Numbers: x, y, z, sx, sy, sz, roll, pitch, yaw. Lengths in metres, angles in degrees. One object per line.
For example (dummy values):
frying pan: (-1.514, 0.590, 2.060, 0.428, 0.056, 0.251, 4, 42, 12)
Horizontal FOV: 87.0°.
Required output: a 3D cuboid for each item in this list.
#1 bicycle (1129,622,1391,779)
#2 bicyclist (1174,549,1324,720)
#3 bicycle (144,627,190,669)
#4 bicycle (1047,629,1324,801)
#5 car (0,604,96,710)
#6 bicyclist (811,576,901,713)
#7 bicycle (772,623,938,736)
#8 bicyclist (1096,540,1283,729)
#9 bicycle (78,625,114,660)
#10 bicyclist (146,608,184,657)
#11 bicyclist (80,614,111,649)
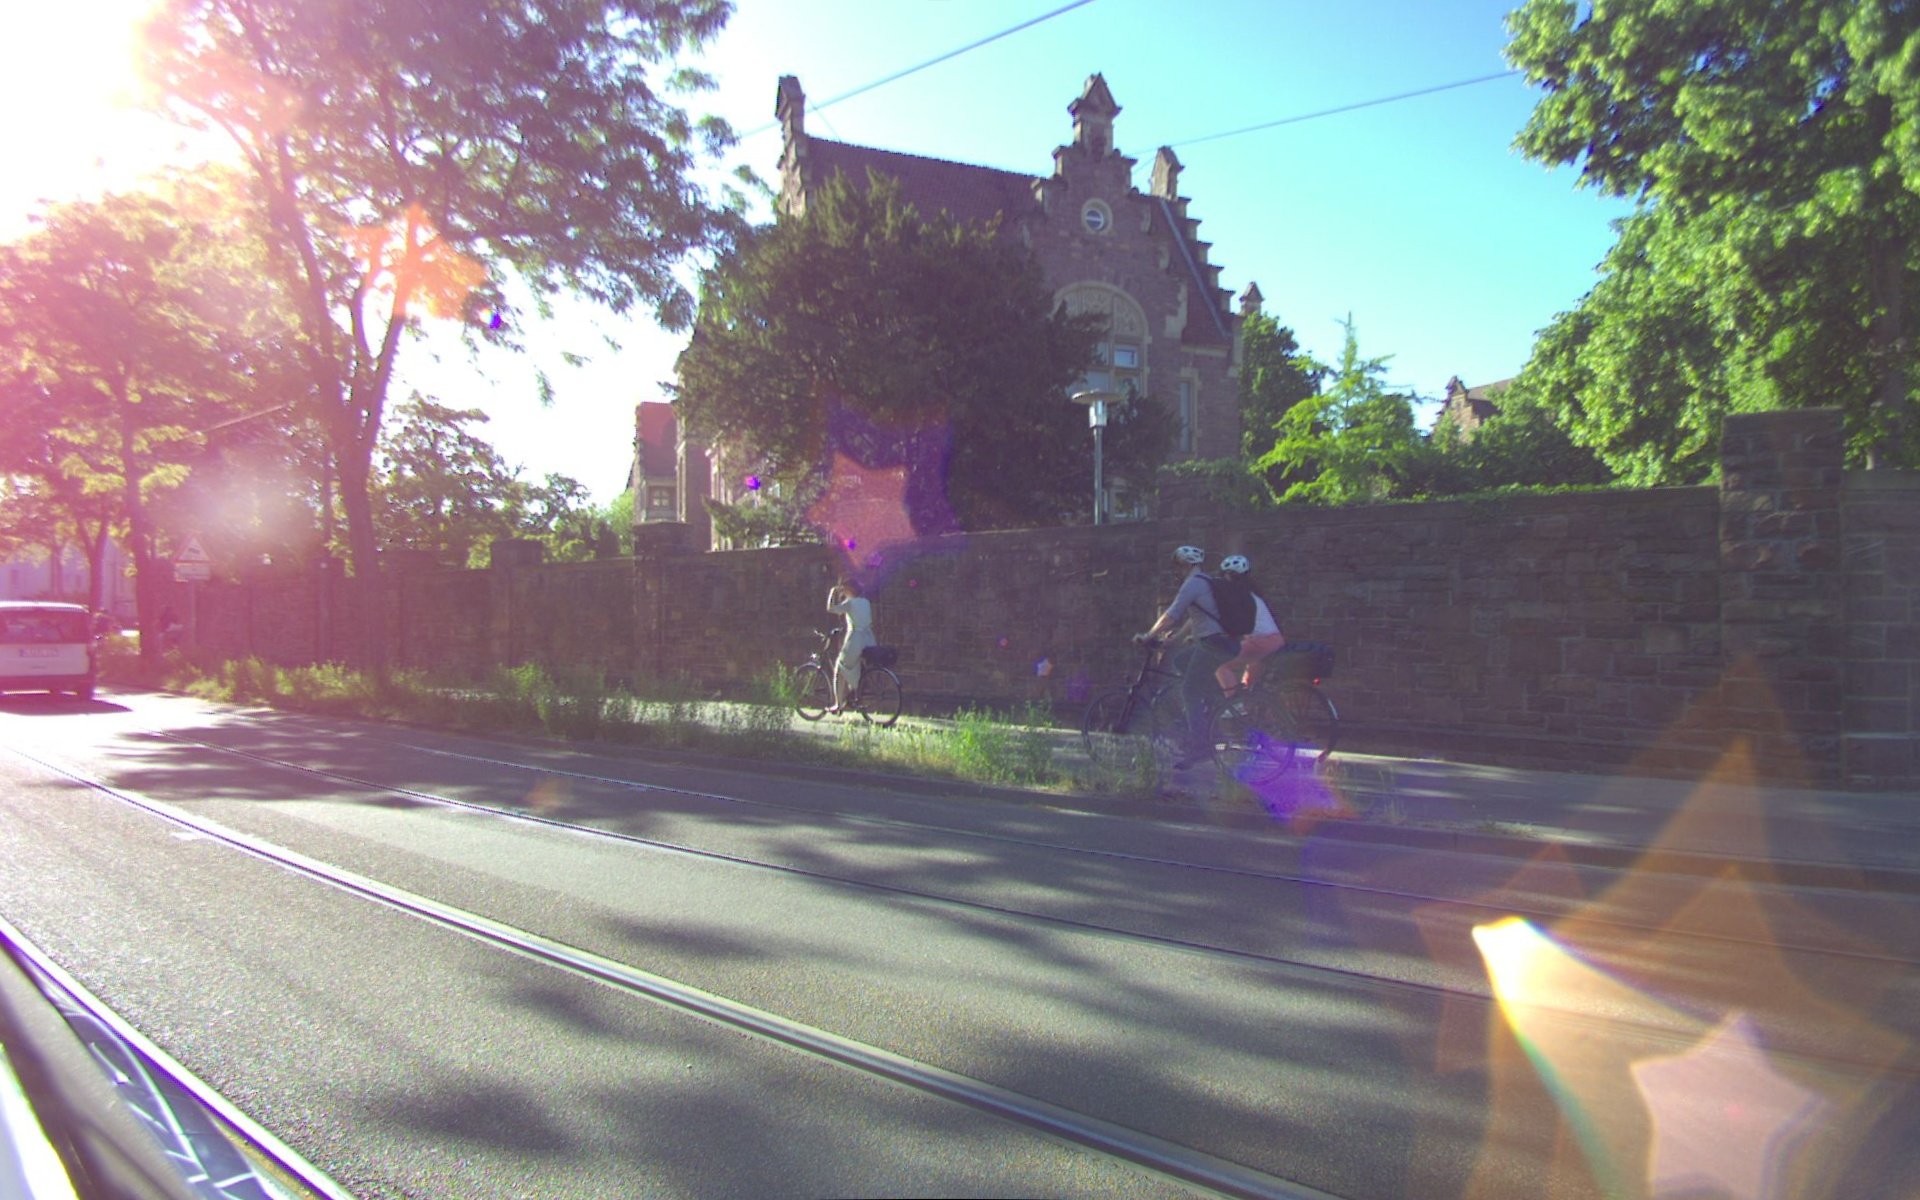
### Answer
bicycle: (2.579, 0.810, 8.871, 2.086, 1.200, 0.724, -1, 0, 40)
bicyclist: (2.542, 0.282, 8.903, 1.060, 1.401, 0.724, -1, 0, 39)
bicycle: (-21.631, 1.294, 27.594, 1.735, 1.086, 0.676, -1, 0, 41)
bicycle: (1.796, 0.863, 8.301, 2.102, 1.200, 0.764, -1, 0, 41)
car: (-17.981, 1.009, 19.046, 3.993, 1.824, 1.810, -1, -1, 37)
bicyclist: (-1.229, 0.508, 11.954, 0.751, 1.546, 0.734, -1, 0, 41)
bicycle: (-1.281, 0.891, 12.000, 2.087, 1.200, 0.737, -1, 0, 41)
bicyclist: (1.857, 0.260, 8.238, 1.271, 1.401, 0.758, -1, 0, 41)
bicycle: (-28.813, 1.394, 33.744, 1.735, 1.121, 0.676, -1, 0, 41)
bicyclist: (-21.757, 0.879, 27.692, 0.871, 1.294, 0.676, -1, 0, 42)
bicyclist: (-28.829, 1.043, 33.753, 0.693, 1.121, 0.676, -1, 0, 41)
